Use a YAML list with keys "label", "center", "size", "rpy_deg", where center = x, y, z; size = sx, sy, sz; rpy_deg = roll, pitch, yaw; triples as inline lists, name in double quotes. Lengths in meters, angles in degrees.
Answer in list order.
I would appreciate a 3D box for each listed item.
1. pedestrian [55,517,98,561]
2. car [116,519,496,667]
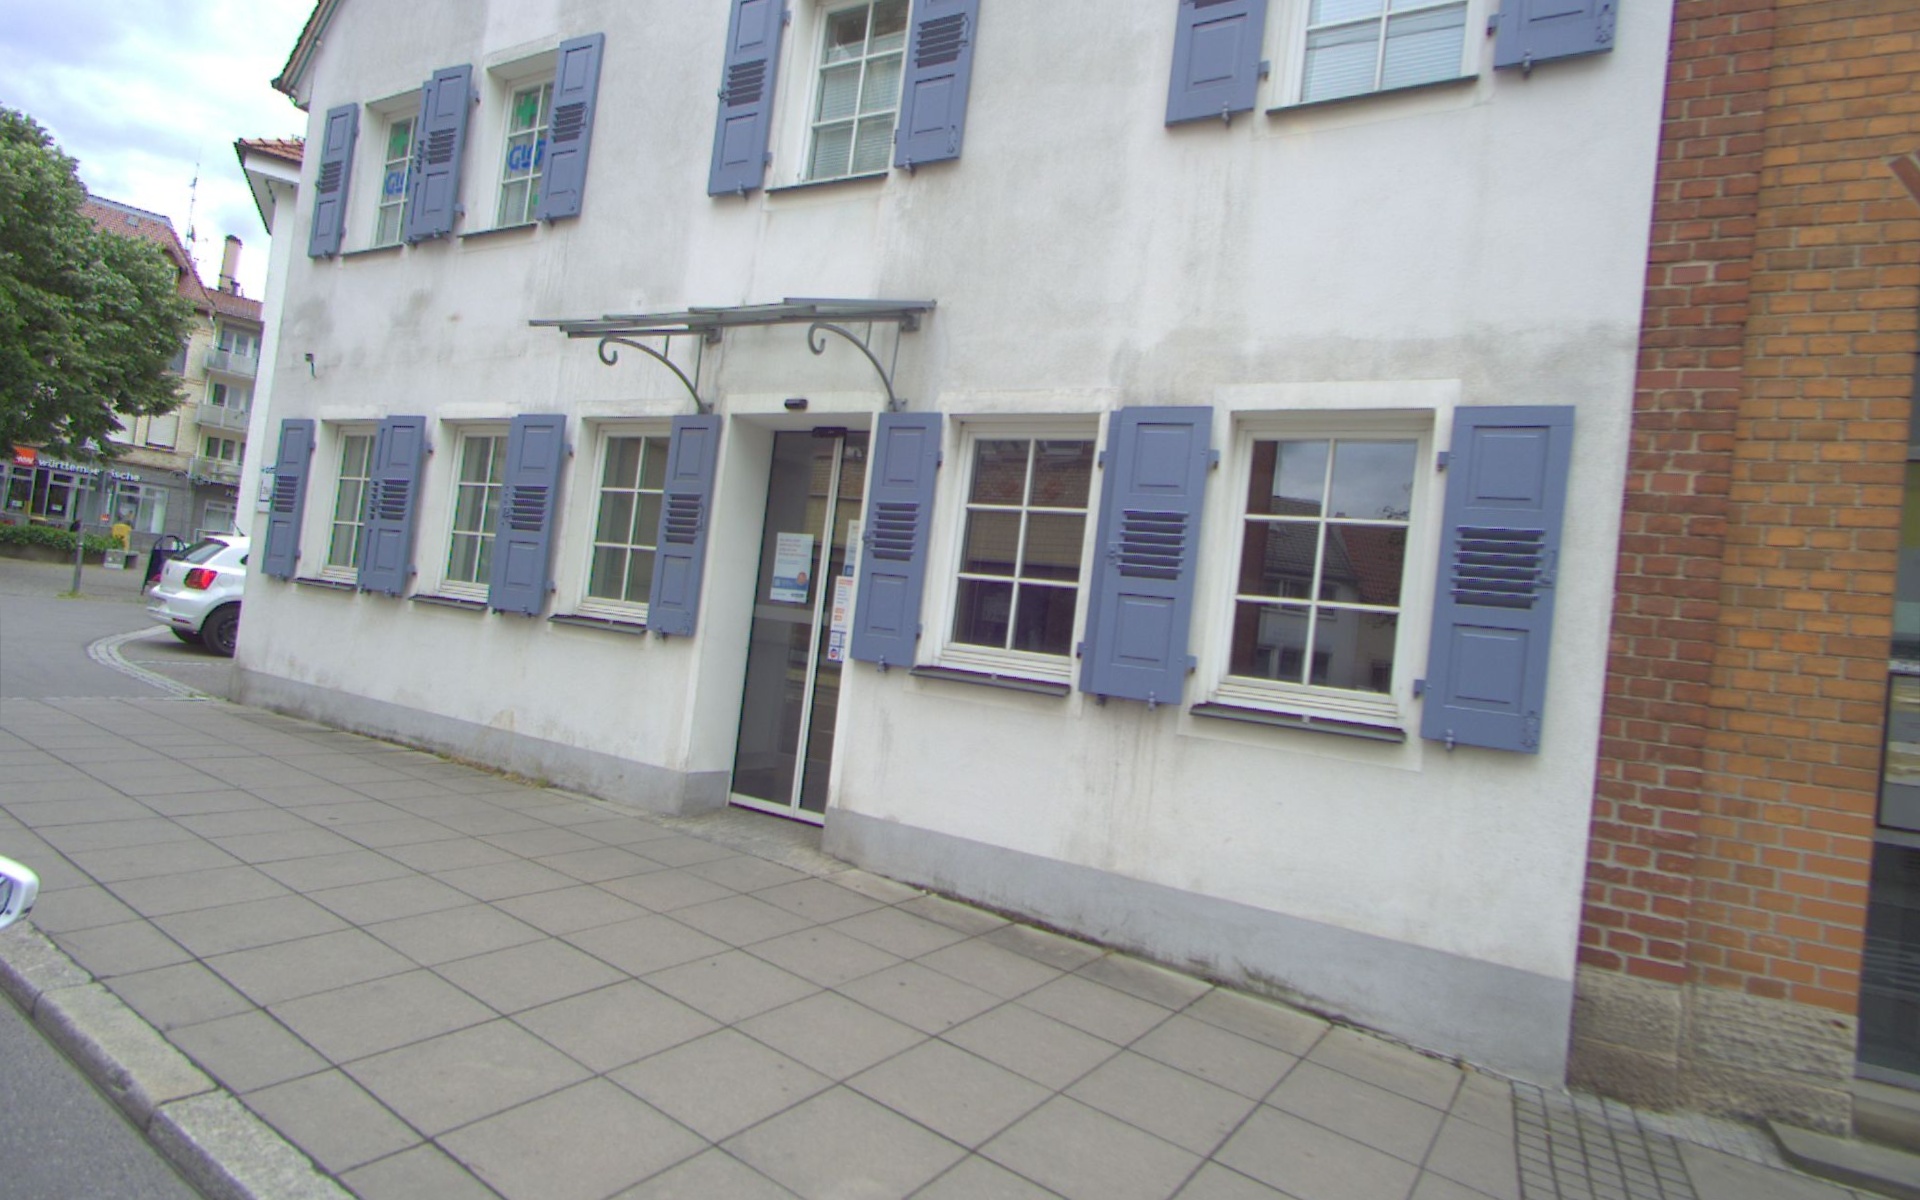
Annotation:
- label: "pedestrian"
  center: [-31.373, -2.177, 35.723]
  size: [0.961, 1.396, 0.855]
  rpy_deg: [6, -3, 39]
- label: "car"
  center: [-8.664, -0.015, 13.643]
  size: [1.867, 1.435, 3.798]
  rpy_deg: [6, -2, 33]
